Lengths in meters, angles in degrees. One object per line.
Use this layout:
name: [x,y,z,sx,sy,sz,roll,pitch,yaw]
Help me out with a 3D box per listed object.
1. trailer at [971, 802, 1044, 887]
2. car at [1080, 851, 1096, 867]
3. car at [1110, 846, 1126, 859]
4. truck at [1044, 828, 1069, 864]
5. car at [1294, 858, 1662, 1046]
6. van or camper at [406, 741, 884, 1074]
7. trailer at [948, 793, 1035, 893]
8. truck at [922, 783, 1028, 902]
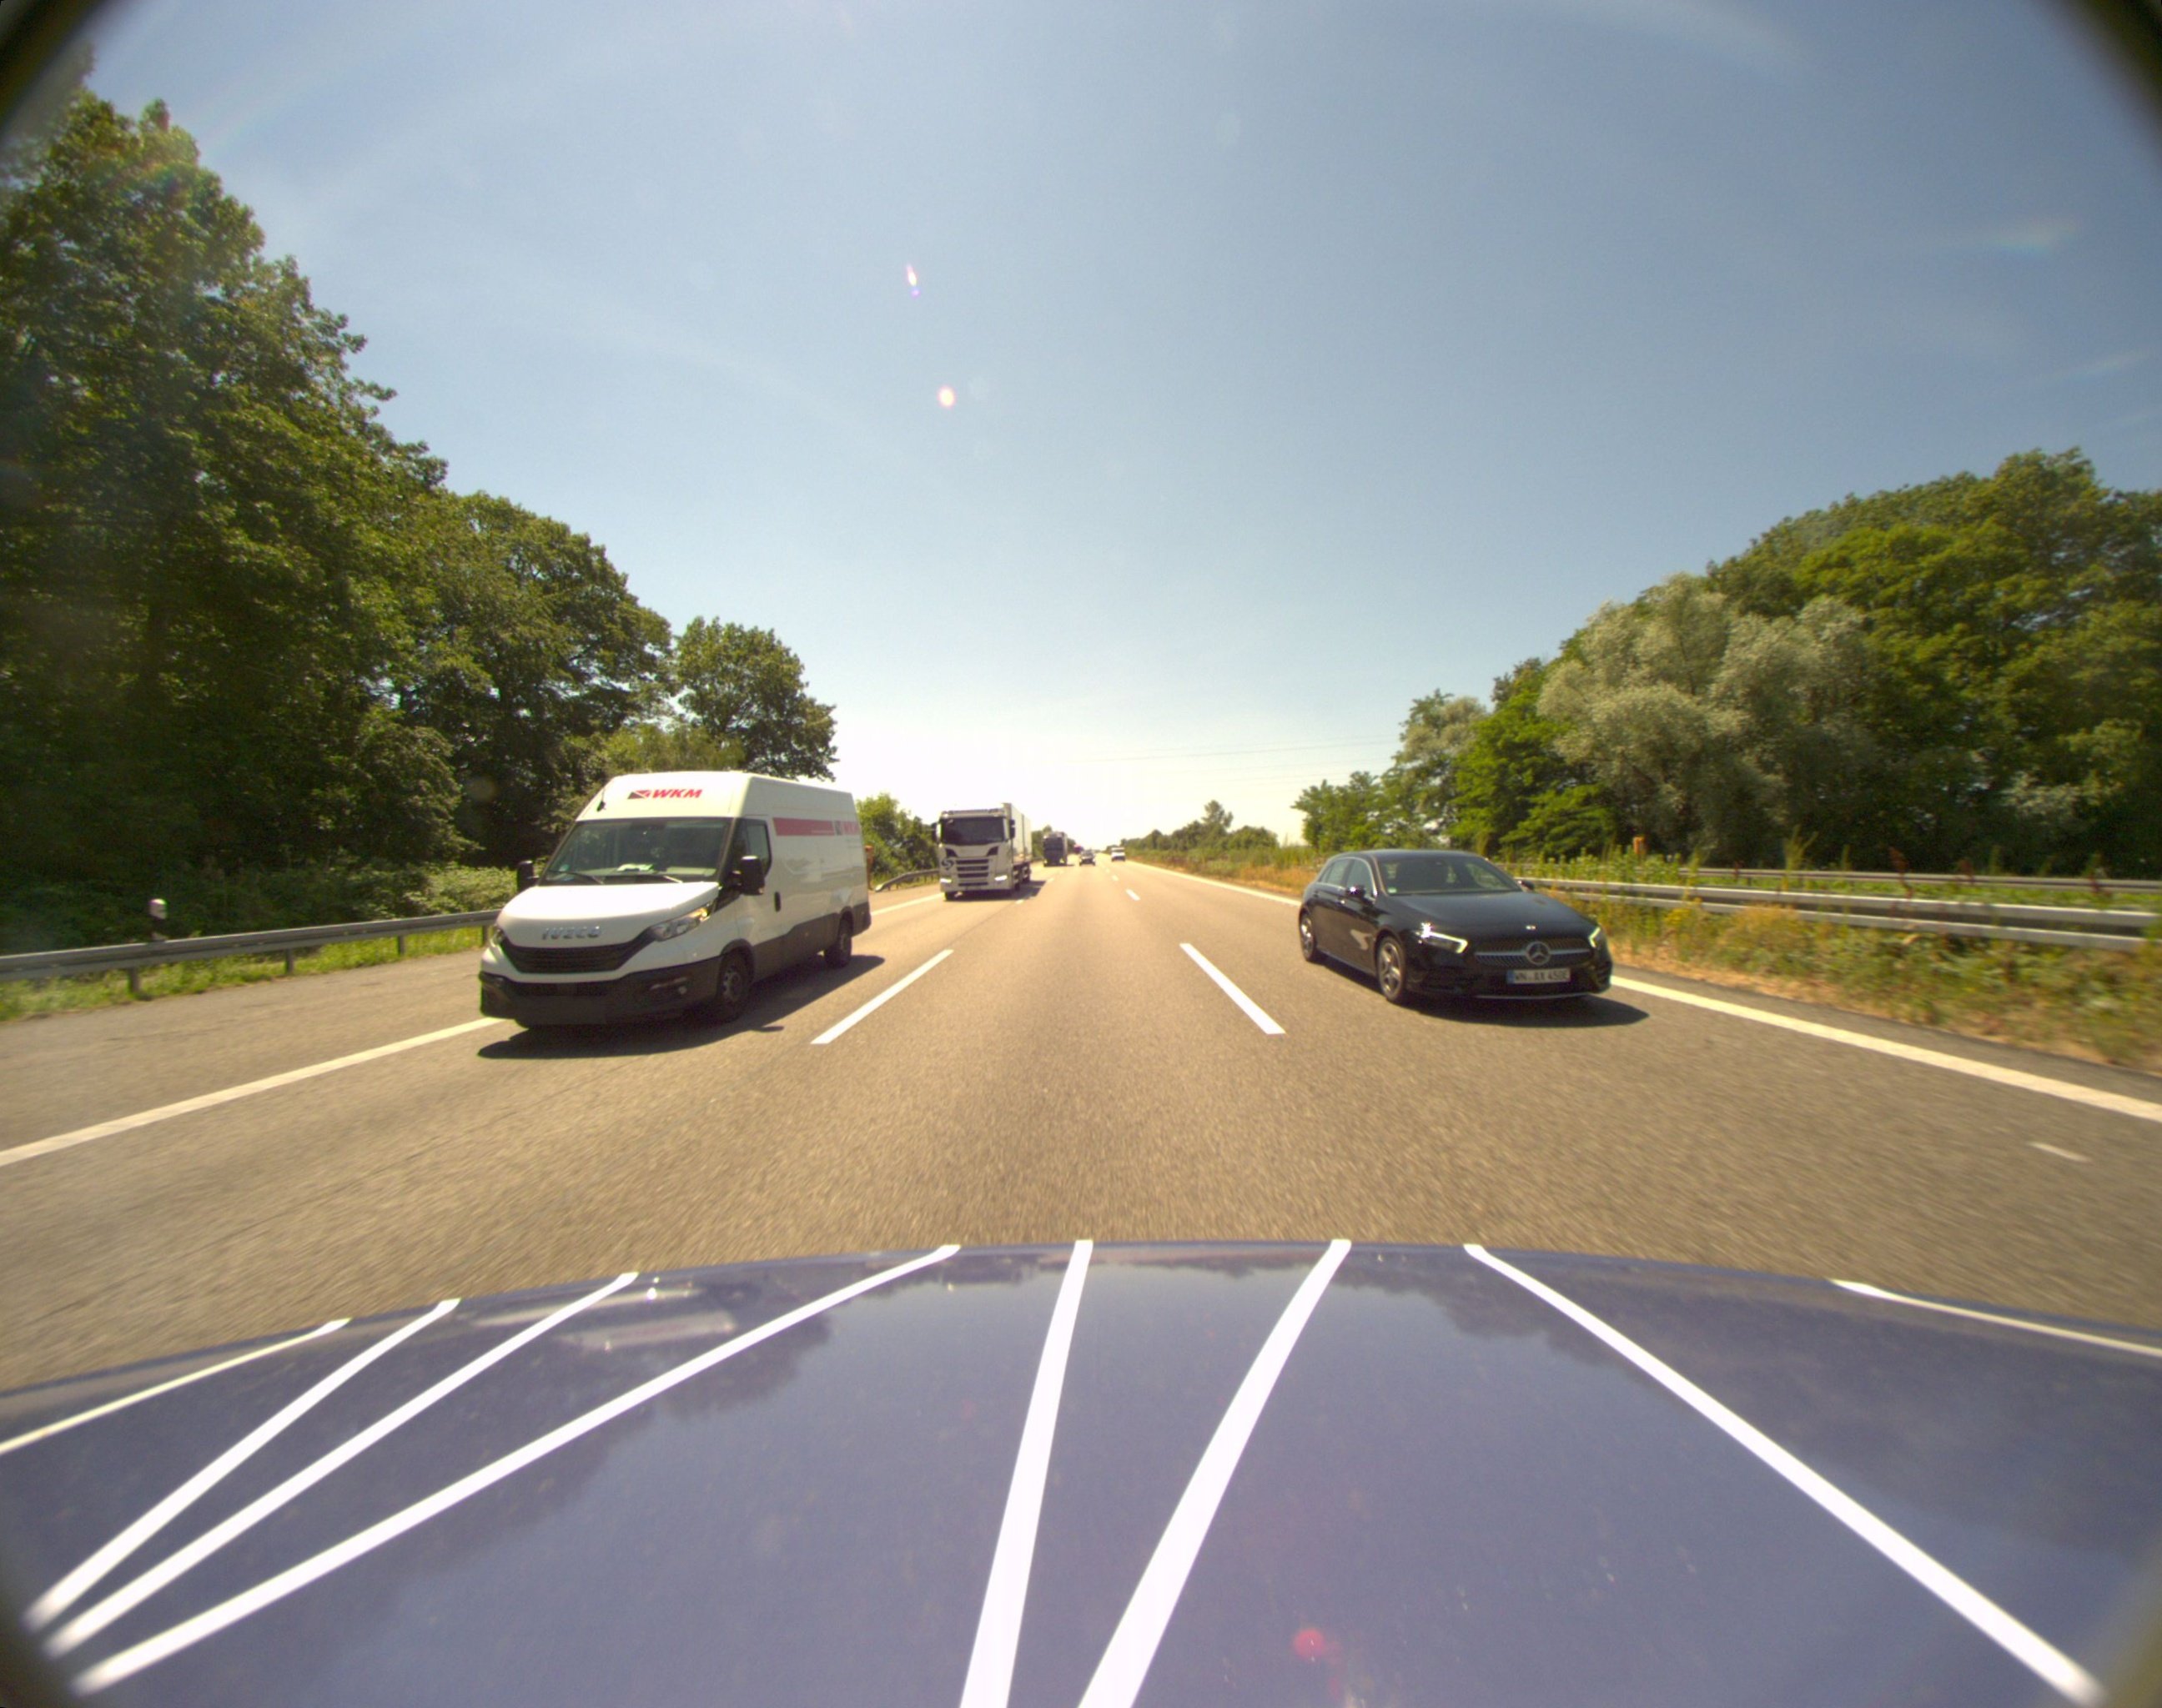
trailer: [-3.814,-0.519,41.275,2.952,4.039,8.127,-2,1,0]
car: [0.775,0.580,86.337,1.796,1.696,4.000,1,1,1]
car: [5.407,-0.286,112.068,2.147,1.810,5.267,-2,1,1]
truck: [-2.897,-0.935,89.933,2.559,3.932,6.513,-2,1,1]
car: [3.713,0.789,8.038,1.796,1.403,4.052,-1,0,1]
van or camper: [-4.358,0.412,9.389,2.027,2.622,6.486,-2,1,0]
trailer: [-3.900,-0.500,35.065,2.927,4.018,7.316,-2,1,0]
truck: [-3.902,-0.442,29.708,2.896,4.007,6.869,-2,1,1]
